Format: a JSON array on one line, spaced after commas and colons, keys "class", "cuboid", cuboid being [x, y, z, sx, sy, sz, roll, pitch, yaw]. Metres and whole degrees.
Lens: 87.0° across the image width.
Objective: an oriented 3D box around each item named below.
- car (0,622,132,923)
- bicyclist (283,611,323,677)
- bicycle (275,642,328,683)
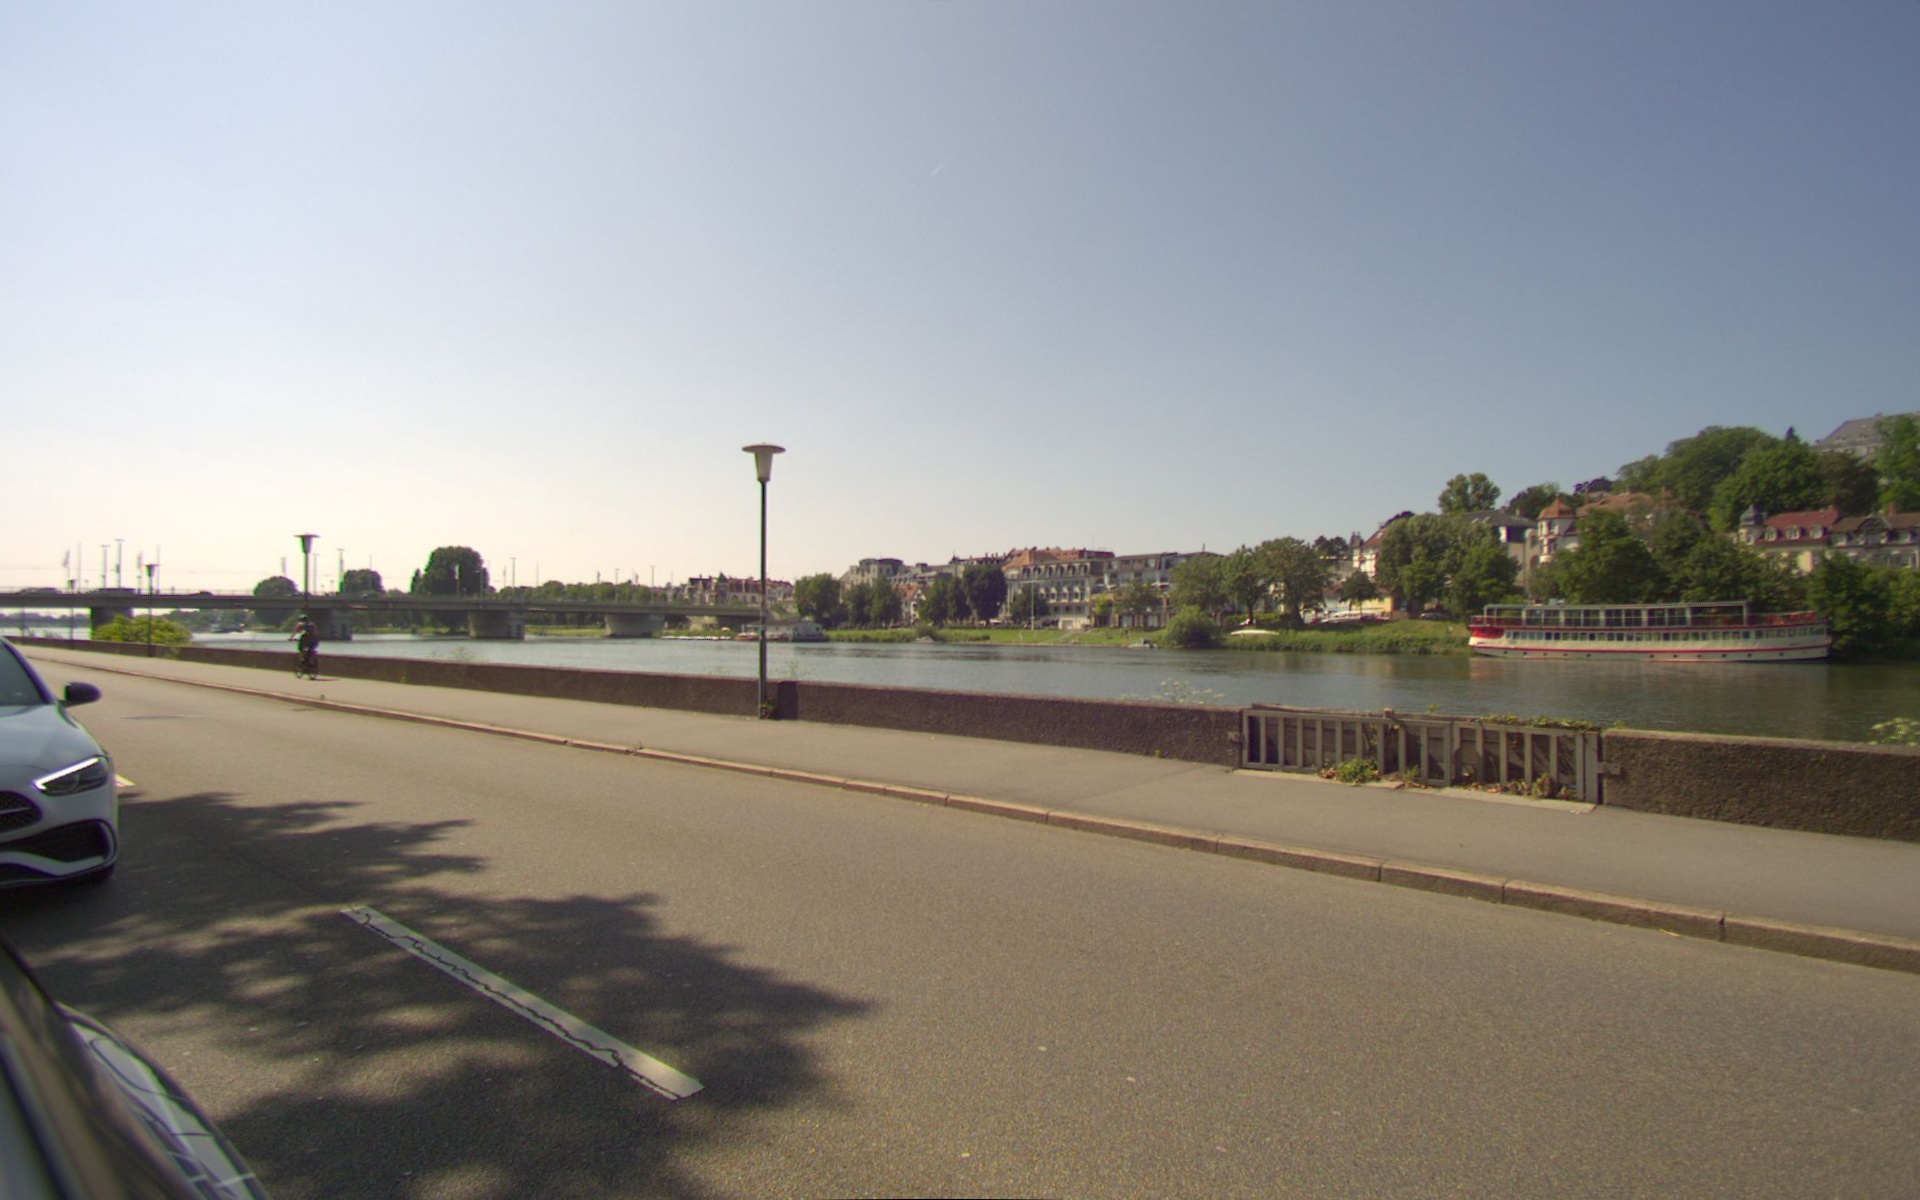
[{"class": "car", "cuboid": [-6.547, 0.876, 6.048, 4.551, 1.430, 1.806, -2, -1, 42]}, {"class": "bicyclist", "cuboid": [-17.156, 1.151, 26.425, 0.870, 1.686, 0.631, -2, -3, 41]}, {"class": "bicycle", "cuboid": [-17.250, 1.627, 26.478, 1.984, 1.019, 0.626, -2, -3, 41]}]
